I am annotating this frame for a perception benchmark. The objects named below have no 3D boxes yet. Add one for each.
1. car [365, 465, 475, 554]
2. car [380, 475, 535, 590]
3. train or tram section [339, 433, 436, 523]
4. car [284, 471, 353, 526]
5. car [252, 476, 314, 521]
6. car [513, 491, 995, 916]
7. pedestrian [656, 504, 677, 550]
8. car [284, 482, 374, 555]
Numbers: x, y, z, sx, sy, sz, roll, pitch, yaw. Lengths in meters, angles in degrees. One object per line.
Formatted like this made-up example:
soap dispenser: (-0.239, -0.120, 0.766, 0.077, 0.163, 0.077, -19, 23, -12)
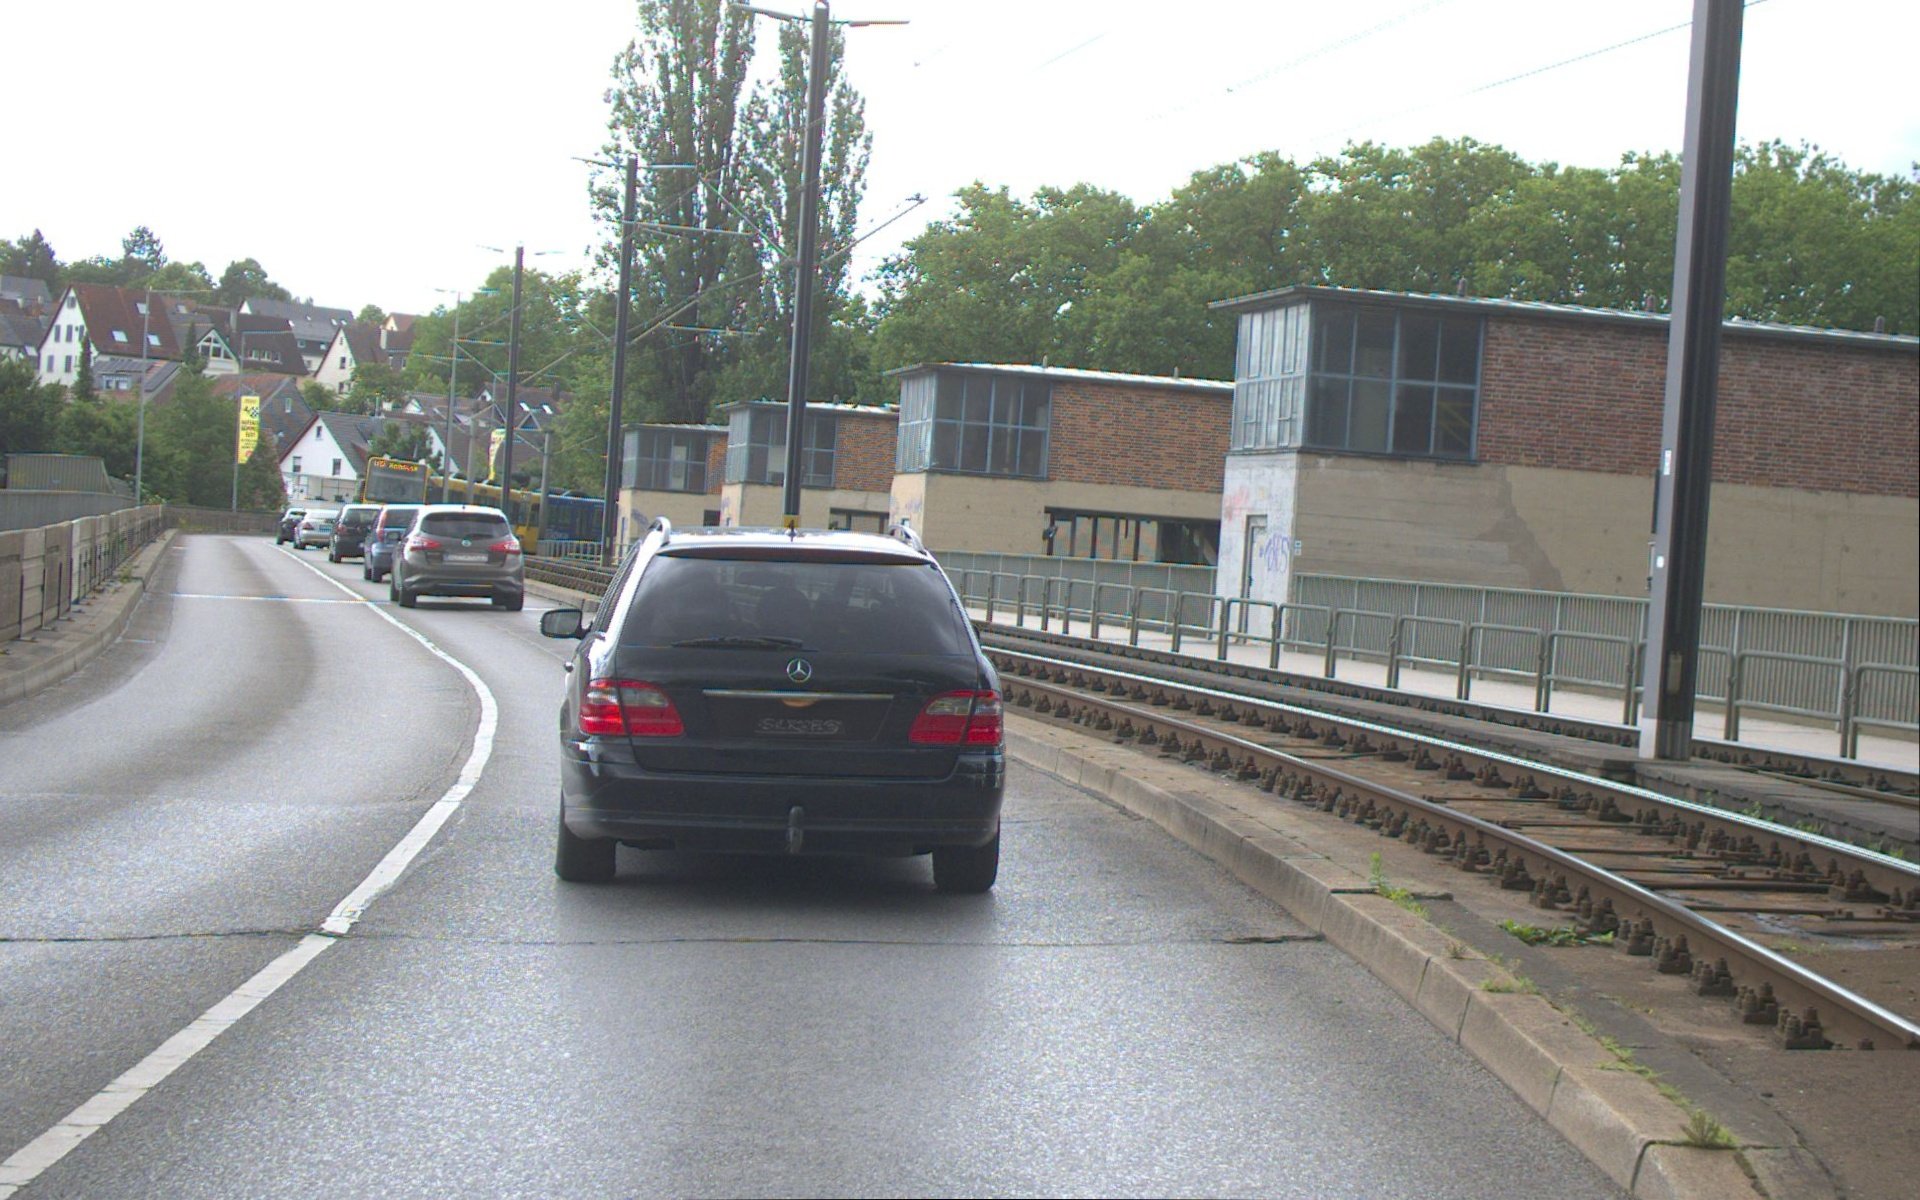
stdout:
car: (-10.424, -1.768, 66.113, 1.993, 1.559, 4.999, 1, 3, -10)
car: (-7.494, -1.033, 50.989, 1.770, 1.550, 4.242, 3, 1, -14)
train or tram section: (-24.557, -5.162, 146.655, 2.881, 3.497, 18.673, 2, 1, -13)
car: (-20.449, -3.250, 109.723, 1.993, 1.565, 4.907, 4, 1, -10)
car: (-26.549, -3.993, 134.815, 1.993, 1.565, 4.907, 4, 1, -15)
car: (-0.887, 0.320, 15.099, 1.759, 1.510, 4.443, 2, 2, -3)
pedestrian: (-10.418, -2.595, 122.143, 0.577, 1.604, 0.613, 3, 0, -12)
car: (-15.493, -2.021, 84.309, 1.993, 1.667, 4.542, 1, 2, -12)
